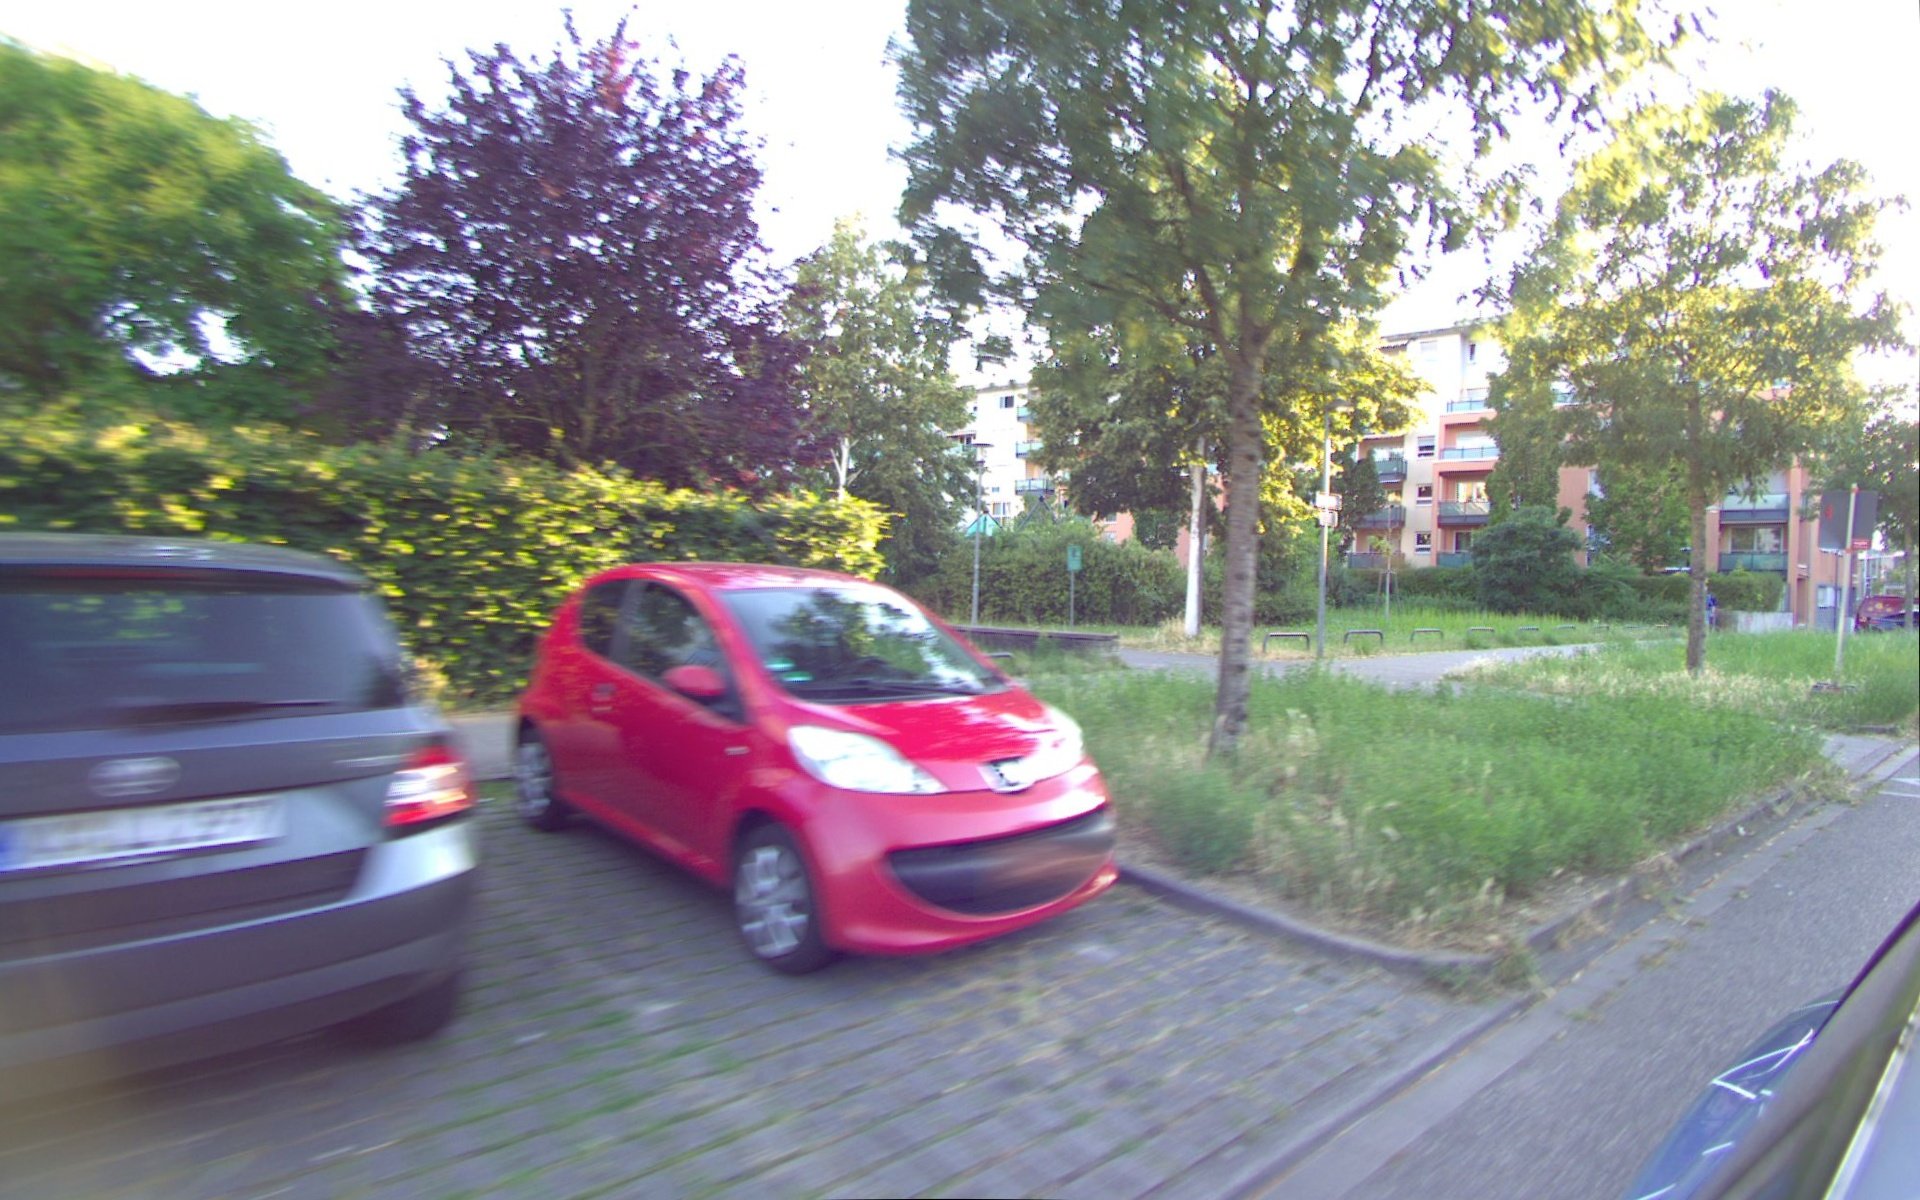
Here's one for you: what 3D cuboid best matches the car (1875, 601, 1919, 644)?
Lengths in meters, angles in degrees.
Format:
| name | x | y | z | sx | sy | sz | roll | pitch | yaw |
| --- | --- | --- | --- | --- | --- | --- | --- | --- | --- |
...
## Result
| name | x | y | z | sx | sy | sz | roll | pitch | yaw |
| --- | --- | --- | --- | --- | --- | --- | --- | --- | --- |
| car | 36.931 | 0.891 | 37.194 | 1.779 | 1.576 | 4.679 | 1 | 1 | -40 |

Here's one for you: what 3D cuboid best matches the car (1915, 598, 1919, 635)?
| name | x | y | z | sx | sy | sz | roll | pitch | yaw |
| --- | --- | --- | --- | --- | --- | --- | --- | --- | --- |
| car | 41.261 | 0.792 | 41.003 | 1.587 | 1.483 | 3.534 | 1 | 3 | -40 |

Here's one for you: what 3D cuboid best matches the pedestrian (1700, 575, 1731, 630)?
| name | x | y | z | sx | sy | sz | roll | pitch | yaw |
| --- | --- | --- | --- | --- | --- | --- | --- | --- | --- |
| pedestrian | 24.643 | 0.067 | 33.010 | 0.687 | 1.765 | 0.670 | 1 | 0 | -41 |

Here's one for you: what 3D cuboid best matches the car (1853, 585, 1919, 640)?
| name | x | y | z | sx | sy | sz | roll | pitch | yaw |
| --- | --- | --- | --- | --- | --- | --- | --- | --- | --- |
| car | 38.625 | 0.533 | 39.832 | 1.980 | 2.143 | 4.932 | 1 | 1 | -39 |

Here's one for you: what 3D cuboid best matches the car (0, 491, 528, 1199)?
| name | x | y | z | sx | sy | sz | roll | pitch | yaw |
| --- | --- | --- | --- | --- | --- | --- | --- | --- | --- |
| car | -3.041 | 0.492 | 3.548 | 1.650 | 1.527 | 3.808 | 1 | 1 | -42 |

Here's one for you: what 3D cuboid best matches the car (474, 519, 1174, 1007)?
| name | x | y | z | sx | sy | sz | roll | pitch | yaw |
| --- | --- | --- | --- | --- | --- | --- | --- | --- | --- |
| car | -0.988 | 0.459 | 5.140 | 1.650 | 1.527 | 3.808 | 1 | 1 | -42 |
